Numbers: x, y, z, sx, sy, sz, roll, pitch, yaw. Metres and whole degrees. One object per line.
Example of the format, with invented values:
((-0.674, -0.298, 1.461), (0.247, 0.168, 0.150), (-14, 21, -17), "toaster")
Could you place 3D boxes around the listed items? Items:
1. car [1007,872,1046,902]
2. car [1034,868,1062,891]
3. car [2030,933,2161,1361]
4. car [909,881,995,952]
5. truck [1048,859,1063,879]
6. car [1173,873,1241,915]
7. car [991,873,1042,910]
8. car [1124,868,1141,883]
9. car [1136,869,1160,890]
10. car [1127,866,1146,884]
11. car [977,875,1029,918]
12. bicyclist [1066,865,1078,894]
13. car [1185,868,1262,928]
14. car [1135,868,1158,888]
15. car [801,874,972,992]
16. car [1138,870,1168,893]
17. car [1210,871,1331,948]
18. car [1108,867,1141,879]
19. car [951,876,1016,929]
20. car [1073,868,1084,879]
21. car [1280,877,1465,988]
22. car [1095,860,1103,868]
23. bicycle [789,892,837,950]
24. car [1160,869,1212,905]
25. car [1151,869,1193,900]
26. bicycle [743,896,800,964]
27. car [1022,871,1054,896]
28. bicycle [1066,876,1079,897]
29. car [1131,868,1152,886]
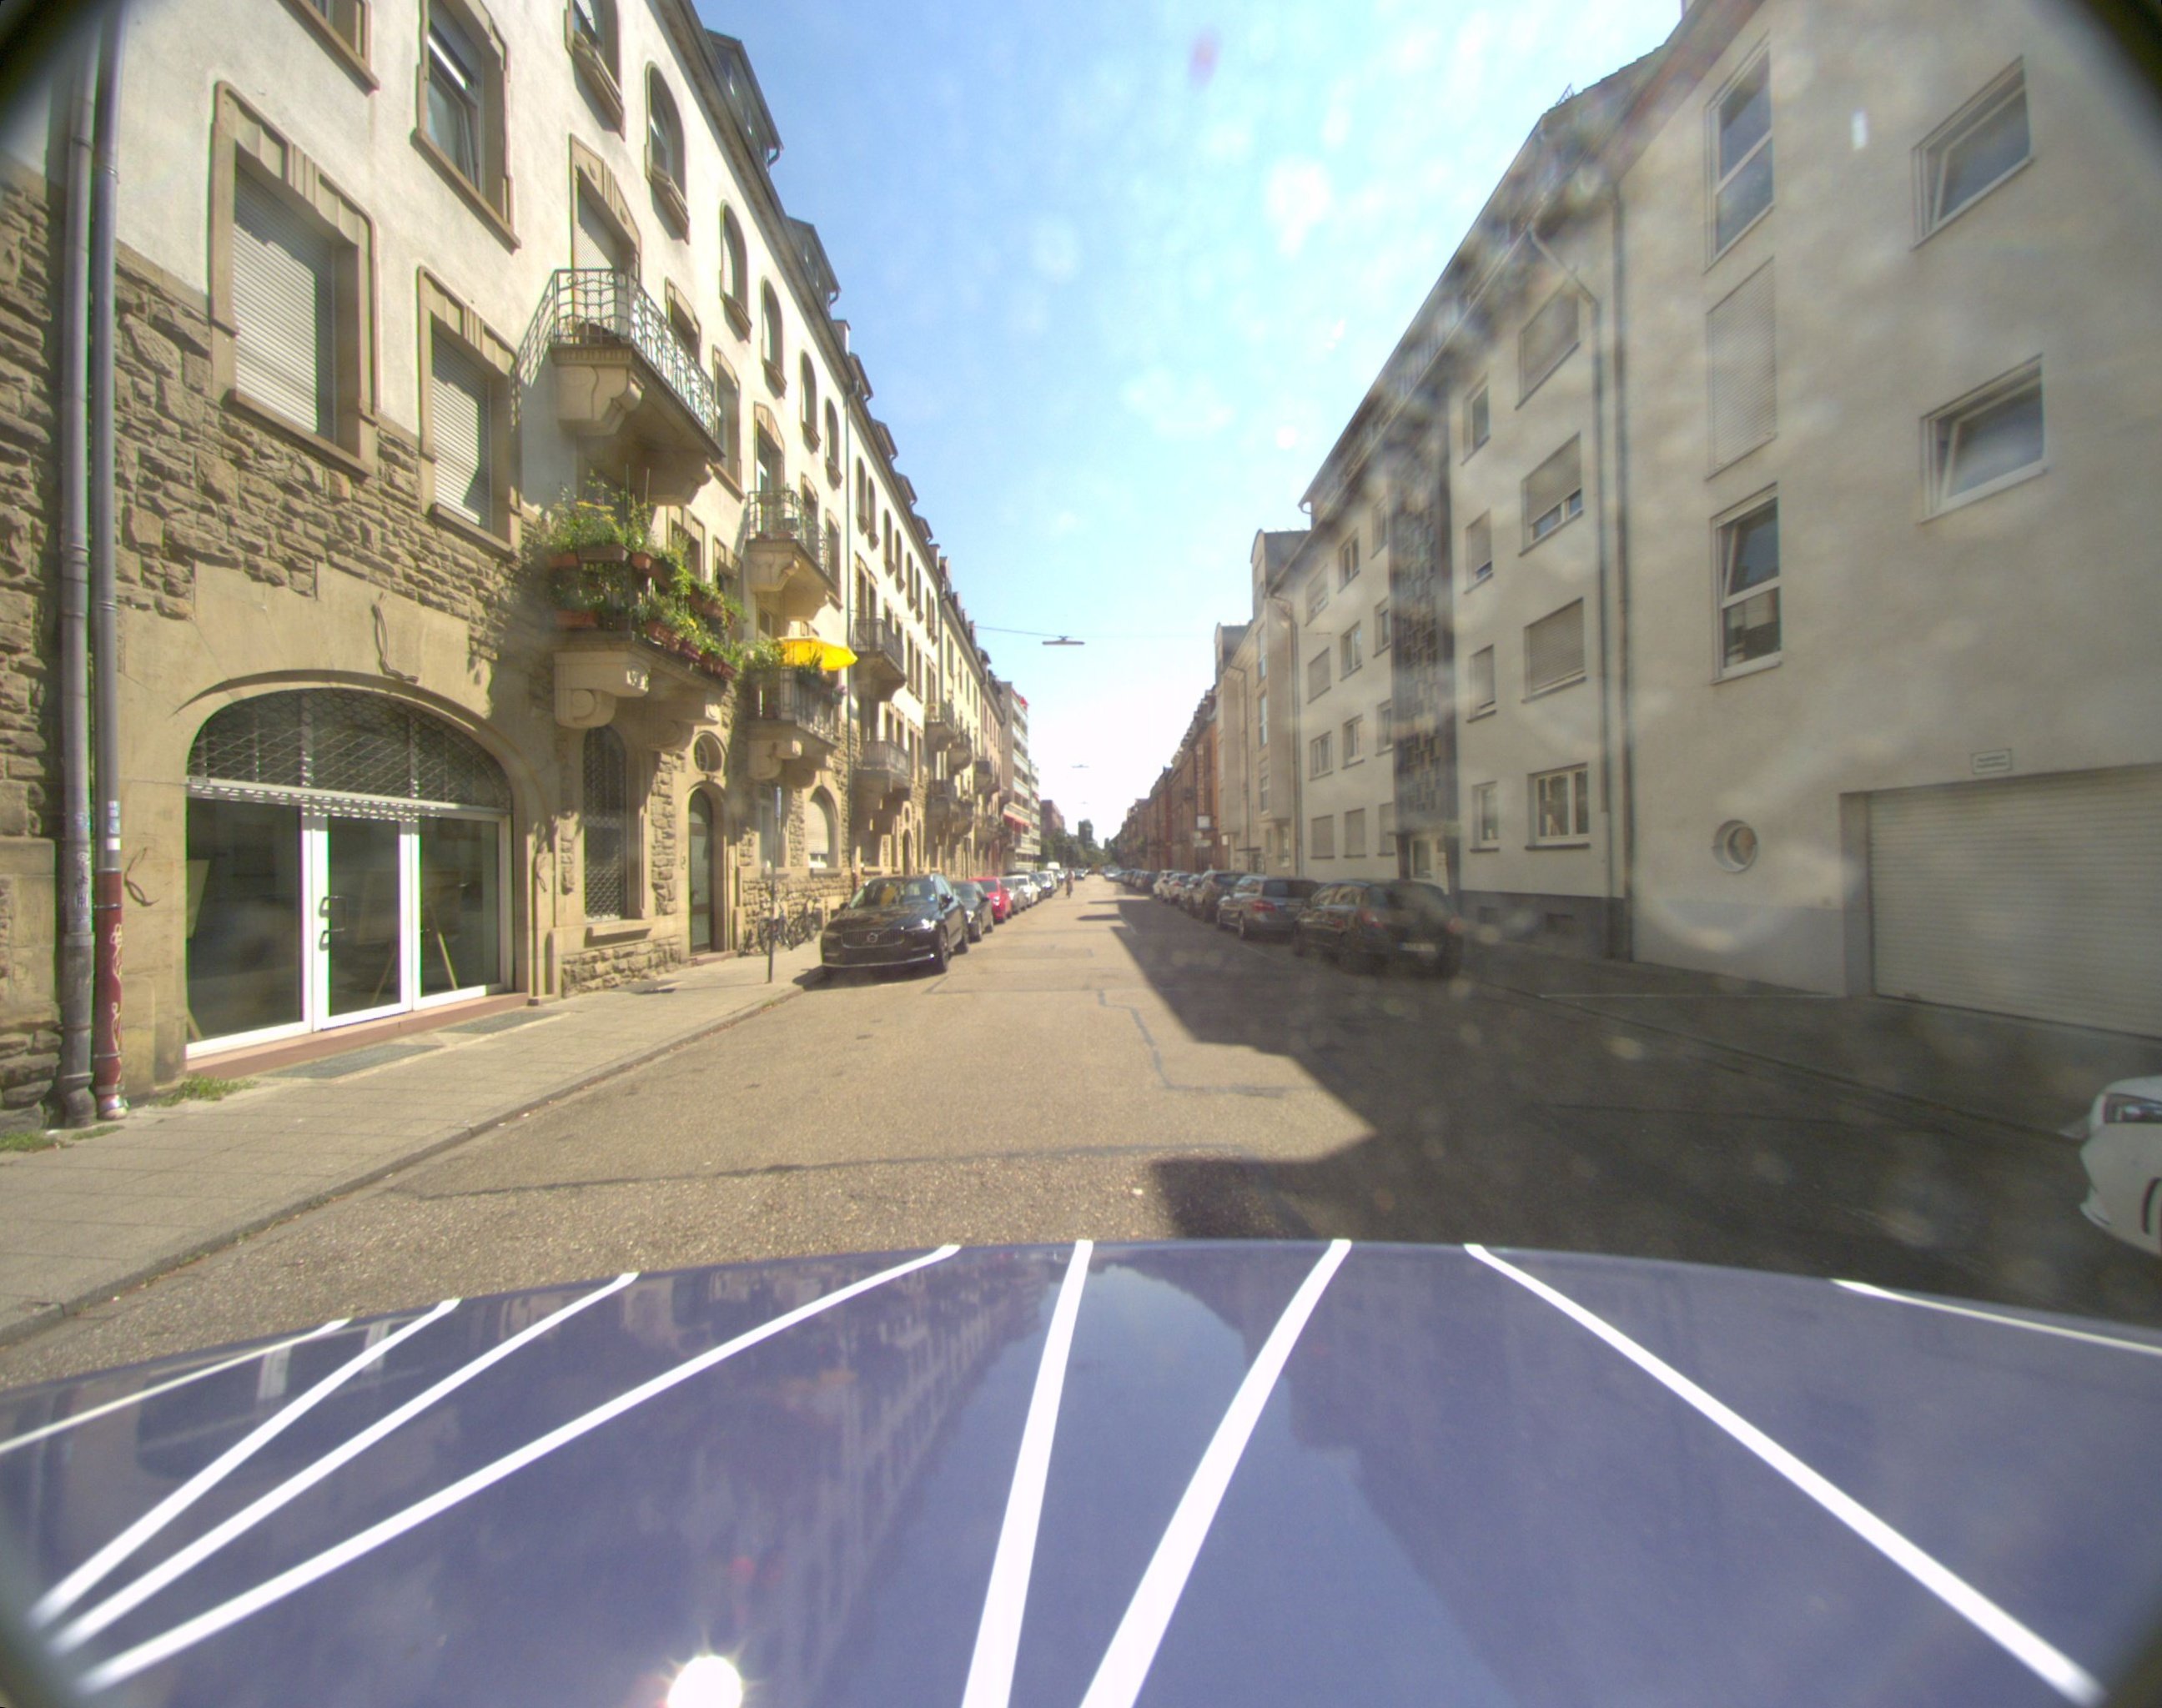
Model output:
((-2.871, 1.718, 41.072), (1.741, 1.449, 4.669), (0, 0, 0), "car")
((-2.459, 1.906, 57.714), (1.651, 1.612, 4.093), (0, 0, 5), "car")
((4.725, 1.041, 0.888), (1.781, 1.451, 4.278), (1, 0, -2), "car")
((-3.074, 1.457, 18.797), (1.516, 1.390, 3.972), (-3, -1, -2), "car")
((-3.514, 1.989, 104.164), (1.869, 2.714, 4.508), (0, 0, 1), "truck")
((4.700, 1.455, 28.946), (1.769, 1.385, 4.348), (1, 0, -1), "car")
((-2.955, 1.686, 35.530), (1.720, 1.444, 4.598), (-3, -1, 2), "car")
((5.331, 2.237, 79.136), (1.450, 1.391, 3.526), (3, -1, 1), "car")
((5.156, 1.928, 58.785), (1.632, 1.421, 3.679), (3, -1, 2), "car")
((5.379, 2.066, 74.200), (1.450, 1.633, 3.526), (3, 0, 0), "car")
((-3.046, 1.634, 30.323), (1.593, 1.444, 3.856), (-3, 0, 0), "car")
((-0.505, 1.460, 43.592), (0.645, 1.639, 0.622), (0, 0, 1), "bicyclist")
((4.346, 1.300, 23.708), (1.608, 1.634, 3.977), (1, 0, -1), "car")
((5.450, 1.963, 63.654), (1.450, 1.534, 3.525), (3, 0, -2), "car")
((-3.153, 1.209, 13.345), (1.838, 1.557, 4.605), (-3, -1, -1), "car")
((5.012, 1.916, 53.447), (1.781, 1.421, 3.837), (3, -1, 2), "car")
((4.349, 1.214, 18.224), (1.660, 1.509, 4.671), (1, 0, -1), "car")
((5.471, 2.391, 95.820), (3.996, 1.422, 1.678), (0, 0, 2), "car")
((-3.121, 1.535, 25.056), (1.574, 1.444, 3.843), (-3, 0, 0), "car")
((-0.372, 2.779, 109.503), (1.625, 1.600, 3.597), (0, 0, 0), "car")
((4.701, 1.187, 12.855), (1.571, 1.483, 3.894), (1, 0, -1), "car")
((4.590, 2.546, 193.487), (1.785, 2.001, 4.001), (-1, 0, 3), "car")
((-6.172, 1.510, 17.556), (0.442, 1.200, 1.775), (0, 0, 1), "bicycle")
((4.861, 1.513, 35.756), (1.735, 1.486, 4.348), (2, 0, -1), "car")
((5.056, 1.677, 42.775), (1.633, 1.540, 3.852), (3, -1, -3), "car")
((-6.162, 1.477, 15.217), (0.385, 1.200, 1.775), (0, 0, 1), "bicycle")
((-2.618, 1.785, 47.031), (1.828, 1.423, 4.489), (-1, -1, -2), "car")
((-0.498, 1.851, 43.520), (0.671, 1.169, 2.094), (0, 0, 1), "bicycle")
((5.357, 2.052, 68.001), (1.450, 1.464, 3.525), (3, 0, -1), "car")
